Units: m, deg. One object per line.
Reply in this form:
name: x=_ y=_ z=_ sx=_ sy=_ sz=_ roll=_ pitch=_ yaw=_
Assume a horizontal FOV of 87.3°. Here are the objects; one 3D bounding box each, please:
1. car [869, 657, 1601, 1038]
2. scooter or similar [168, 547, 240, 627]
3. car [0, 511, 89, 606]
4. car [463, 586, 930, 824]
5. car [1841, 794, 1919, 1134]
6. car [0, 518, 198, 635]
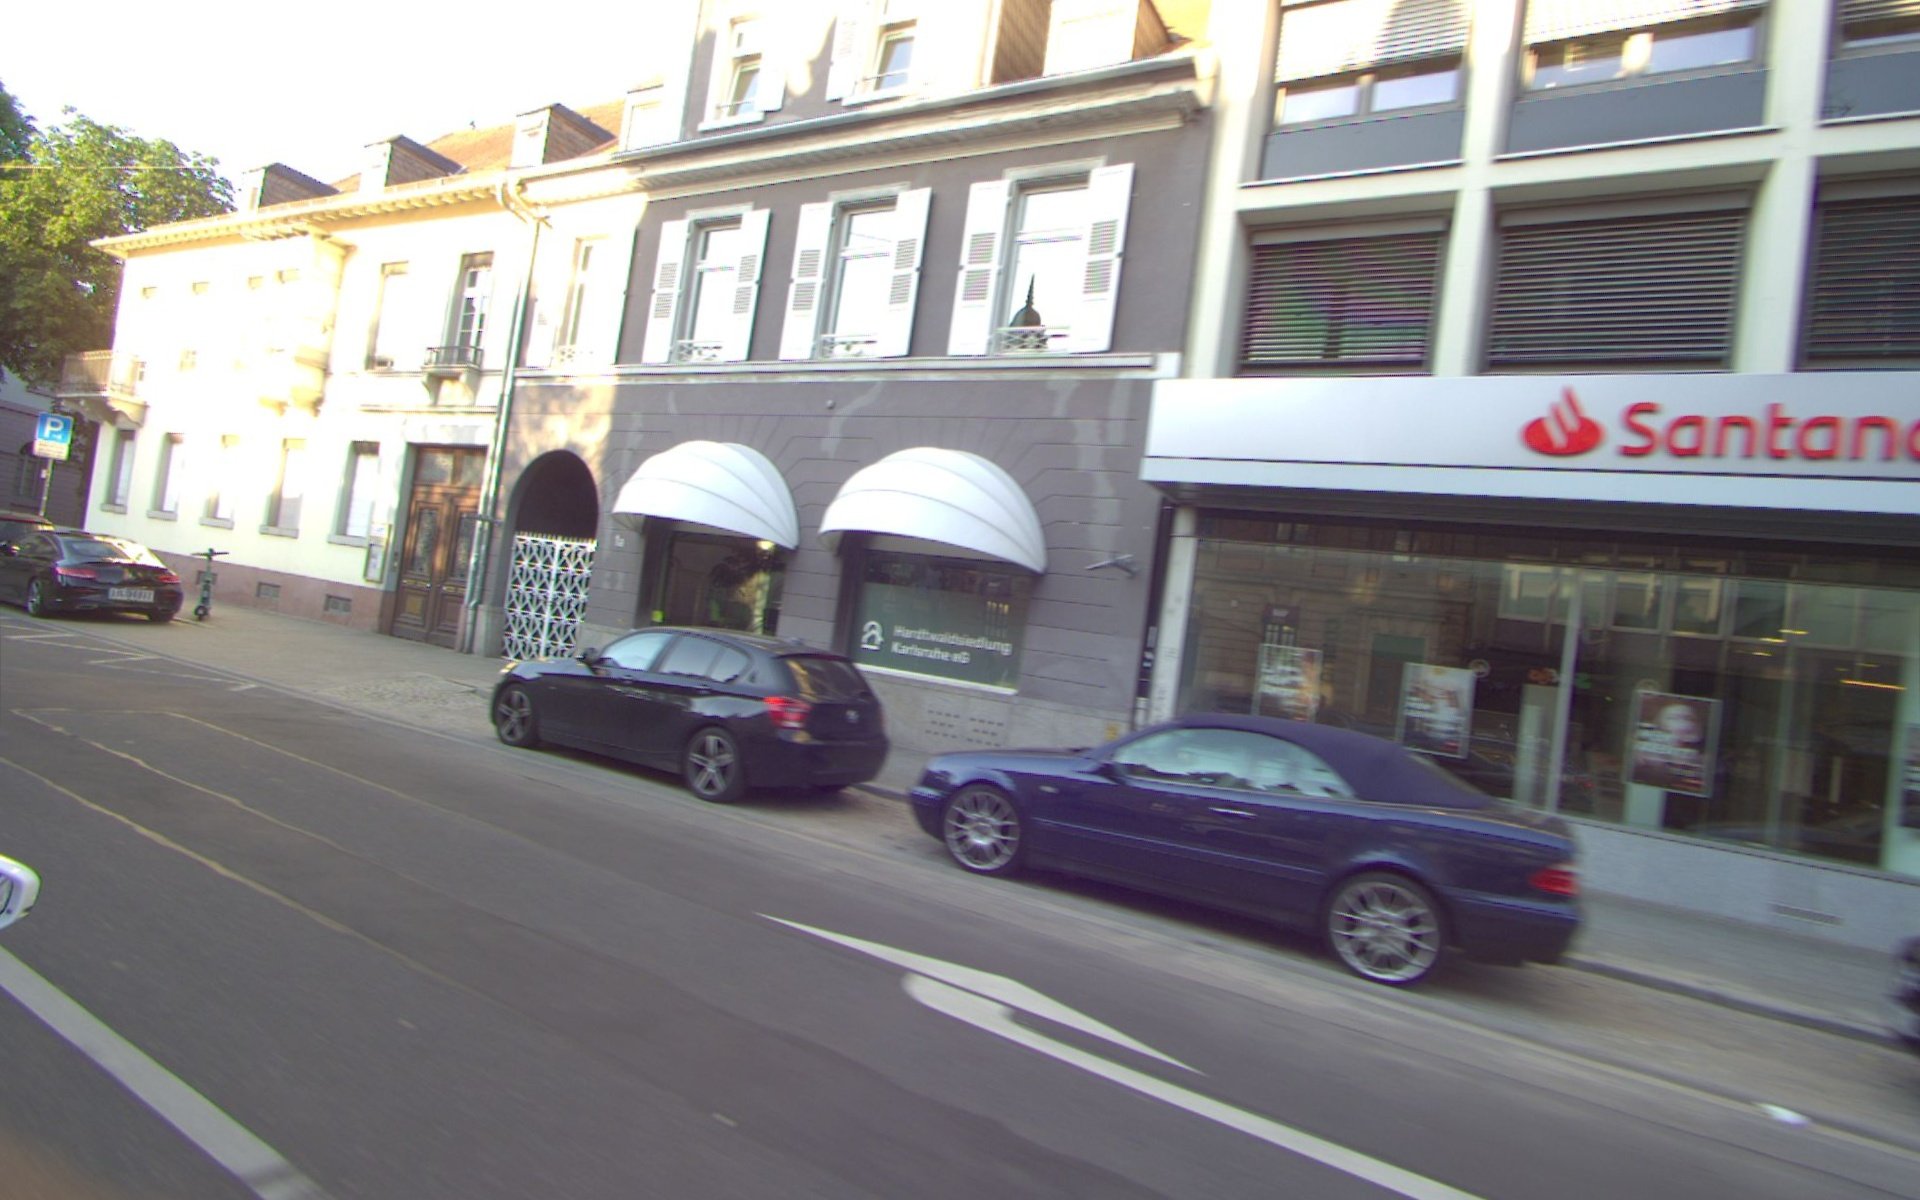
car: x=1.749 y=1.441 z=7.075 sx=4.425 sy=1.402 sz=1.747 roll=7 pitch=-3 yaw=30
scooter or similar: x=-13.423 y=-0.246 z=17.849 sx=1.745 sy=1.248 sz=0.601 roll=6 pitch=0 yaw=41
car: x=-18.985 y=-1.004 z=19.473 sx=4.357 sy=1.558 sz=1.807 roll=7 pitch=-3 yaw=31
car: x=-2.582 y=0.895 z=9.580 sx=4.178 sy=1.463 sz=1.747 roll=7 pitch=-3 yaw=31
car: x=6.617 y=1.965 z=3.878 sx=4.484 sy=1.462 sz=1.746 roll=7 pitch=-3 yaw=32
car: x=-15.059 y=-0.480 z=17.021 sx=4.778 sy=1.409 sz=1.778 roll=7 pitch=-4 yaw=33
